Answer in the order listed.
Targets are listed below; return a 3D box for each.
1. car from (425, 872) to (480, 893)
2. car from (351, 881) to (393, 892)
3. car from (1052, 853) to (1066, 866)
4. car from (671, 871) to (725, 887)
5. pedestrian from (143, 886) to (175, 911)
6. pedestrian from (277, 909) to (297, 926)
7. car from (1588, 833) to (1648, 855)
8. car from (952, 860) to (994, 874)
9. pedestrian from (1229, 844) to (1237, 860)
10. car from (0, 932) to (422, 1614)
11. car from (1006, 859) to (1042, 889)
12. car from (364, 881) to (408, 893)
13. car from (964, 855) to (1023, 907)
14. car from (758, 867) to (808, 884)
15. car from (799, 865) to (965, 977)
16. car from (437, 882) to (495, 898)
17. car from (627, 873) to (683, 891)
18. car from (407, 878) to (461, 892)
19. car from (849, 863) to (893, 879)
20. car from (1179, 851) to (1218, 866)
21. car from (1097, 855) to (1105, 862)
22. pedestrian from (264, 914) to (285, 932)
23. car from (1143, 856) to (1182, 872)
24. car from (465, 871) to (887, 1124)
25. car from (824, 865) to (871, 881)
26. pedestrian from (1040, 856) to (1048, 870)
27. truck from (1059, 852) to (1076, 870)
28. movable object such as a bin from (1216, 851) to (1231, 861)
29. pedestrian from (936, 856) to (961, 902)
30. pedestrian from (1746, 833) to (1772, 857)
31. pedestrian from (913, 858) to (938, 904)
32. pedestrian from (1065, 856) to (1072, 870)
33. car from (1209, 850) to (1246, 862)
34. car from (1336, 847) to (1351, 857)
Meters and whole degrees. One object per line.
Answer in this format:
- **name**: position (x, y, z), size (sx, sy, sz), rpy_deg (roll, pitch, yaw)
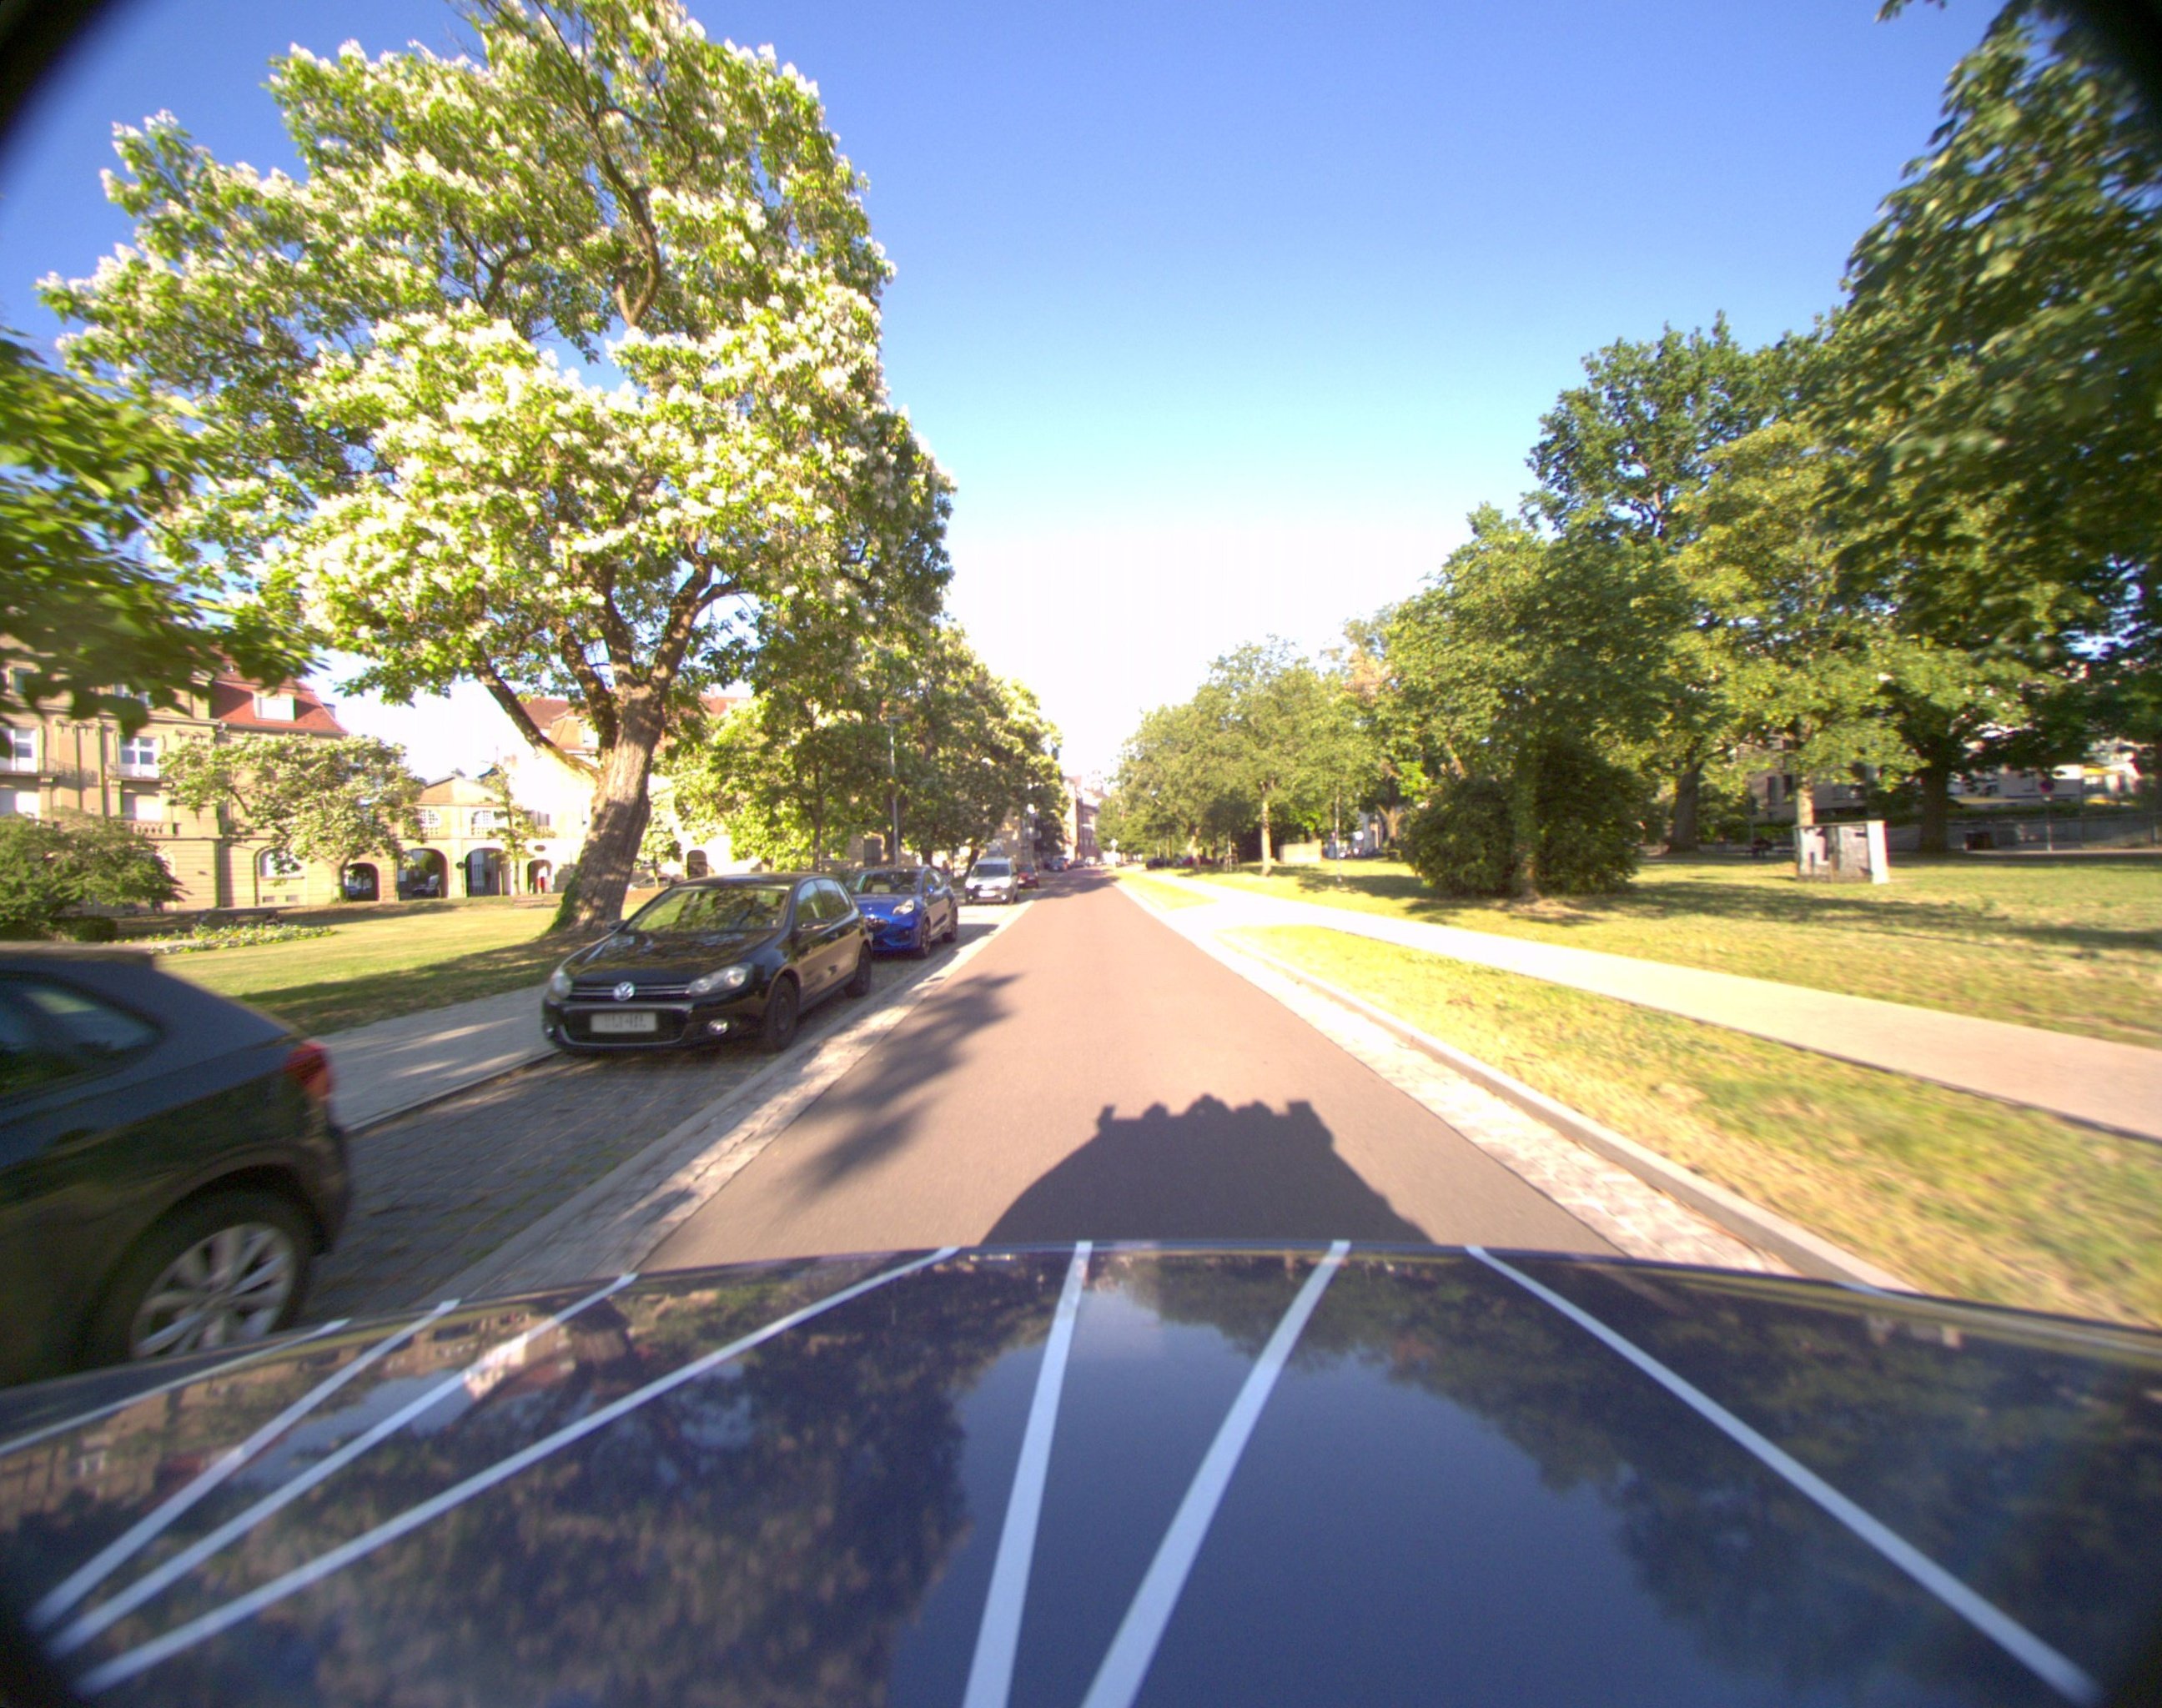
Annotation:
- **car**: position (-70.438, 3.123, 85.254), size (1.814, 2.096, 4.380), rpy_deg (-1, 1, 38)
- **car**: position (-107.223, 4.963, 114.972), size (1.814, 1.409, 4.380), rpy_deg (-1, 1, 40)
- **car**: position (-2.770, 0.729, 96.238), size (1.707, 1.616, 4.349), rpy_deg (0, -1, 0)
- **car**: position (-38.504, 2.482, 76.428), size (4.657, 1.409, 1.815), rpy_deg (-2, 1, -31)
- **pedestrian**: position (-56.109, 2.705, 46.238), size (0.682, 1.466, 0.950), rpy_deg (-2, 1, 3)
- **pedestrian**: position (-43.375, 3.451, 41.499), size (0.577, 0.876, 0.678), rpy_deg (-3, 1, 38)
- **car**: position (42.338, -0.745, 59.998), size (1.998, 1.608, 3.738), rpy_deg (-3, 0, 0)
- **car**: position (-11.946, 1.406, 84.521), size (4.452, 1.410, 1.935), rpy_deg (-2, 1, -5)
- **pedestrian**: position (15.625, -0.208, 78.067), size (0.663, 1.686, 0.672), rpy_deg (-3, 0, 2)
- **car**: position (-3.296, 1.068, 0.788), size (1.631, 1.455, 4.247), rpy_deg (-2, 0, -3)
- **car**: position (-3.161, 1.069, 42.861), size (1.682, 1.477, 4.809), rpy_deg (-2, 0, 0)
- **car**: position (-99.024, 4.741, 108.300), size (1.814, 1.409, 4.380), rpy_deg (-1, 1, 40)
- **car**: position (-3.255, 0.964, 29.044), size (1.682, 1.730, 4.513), rpy_deg (-2, 0, 0)
- **car**: position (-29.125, 2.061, 74.199), size (4.443, 1.409, 1.564), rpy_deg (-2, 1, -23)
- **car**: position (-3.335, 1.044, 13.624), size (1.736, 1.542, 4.275), rpy_deg (-2, 0, 1)
- **car**: position (-65.657, 3.796, 81.183), size (1.814, 1.409, 4.380), rpy_deg (-1, 1, 35)
- **car**: position (-38.822, 2.542, 69.285), size (4.378, 1.409, 1.815), rpy_deg (-2, 1, -30)
- **car**: position (-75.540, 3.610, 88.770), size (1.814, 1.409, 4.380), rpy_deg (-1, 1, 35)
- **car**: position (-22.858, 1.811, 82.718), size (4.456, 1.590, 1.800), rpy_deg (-2, 1, -18)
- **car**: position (13.640, 0.514, 88.019), size (4.004, 1.565, 1.887), rpy_deg (-3, 2, -24)
- **car**: position (4.790, 0.972, 179.165), size (1.582, 1.499, 3.848), rpy_deg (-2, 0, 7)
- **pedestrian**: position (-42.939, 3.665, 40.455), size (0.577, 0.876, 0.678), rpy_deg (-3, 1, 38)
- **car**: position (9.254, 1.073, 86.273), size (4.004, 1.565, 1.887), rpy_deg (-3, 2, -24)
- **car**: position (-3.309, 1.022, 7.372), size (1.736, 1.542, 4.421), rpy_deg (-2, 0, -1)
- **car**: position (-23.474, 1.861, 76.411), size (4.371, 1.409, 1.842), rpy_deg (-2, 1, -20)
- **pedestrian**: position (-4.780, 1.143, 97.293), size (0.733, 1.819, 0.555), rpy_deg (-3, 0, -36)
- **truck**: position (-2.144, 1.013, 118.479), size (2.133, 2.549, 6.877), rpy_deg (-2, 0, 3)
- **movable object such as a bin**: position (14.662, 0.191, 78.087), size (1.332, 0.984, 0.950), rpy_deg (-2, 1, 2)
- **pedestrian**: position (-5.196, 0.966, 29.784), size (0.755, 1.726, 0.731), rpy_deg (-3, 0, 1)
- **pedestrian**: position (28.155, -0.374, 31.555), size (0.549, 0.981, 0.610), rpy_deg (-2, 1, 11)
- **pedestrian**: position (-6.076, 1.045, 29.759), size (0.727, 1.726, 0.731), rpy_deg (-3, 0, 1)
- **pedestrian**: position (-1.571, 1.191, 97.178), size (0.778, 1.759, 0.955), rpy_deg (-3, 0, 1)
- **car**: position (18.542, 0.283, 96.266), size (4.281, 1.392, 1.836), rpy_deg (-2, 1, -22)
- **car**: position (48.668, -0.401, 140.946), size (1.888, 1.565, 4.601), rpy_deg (-2, 2, 11)
